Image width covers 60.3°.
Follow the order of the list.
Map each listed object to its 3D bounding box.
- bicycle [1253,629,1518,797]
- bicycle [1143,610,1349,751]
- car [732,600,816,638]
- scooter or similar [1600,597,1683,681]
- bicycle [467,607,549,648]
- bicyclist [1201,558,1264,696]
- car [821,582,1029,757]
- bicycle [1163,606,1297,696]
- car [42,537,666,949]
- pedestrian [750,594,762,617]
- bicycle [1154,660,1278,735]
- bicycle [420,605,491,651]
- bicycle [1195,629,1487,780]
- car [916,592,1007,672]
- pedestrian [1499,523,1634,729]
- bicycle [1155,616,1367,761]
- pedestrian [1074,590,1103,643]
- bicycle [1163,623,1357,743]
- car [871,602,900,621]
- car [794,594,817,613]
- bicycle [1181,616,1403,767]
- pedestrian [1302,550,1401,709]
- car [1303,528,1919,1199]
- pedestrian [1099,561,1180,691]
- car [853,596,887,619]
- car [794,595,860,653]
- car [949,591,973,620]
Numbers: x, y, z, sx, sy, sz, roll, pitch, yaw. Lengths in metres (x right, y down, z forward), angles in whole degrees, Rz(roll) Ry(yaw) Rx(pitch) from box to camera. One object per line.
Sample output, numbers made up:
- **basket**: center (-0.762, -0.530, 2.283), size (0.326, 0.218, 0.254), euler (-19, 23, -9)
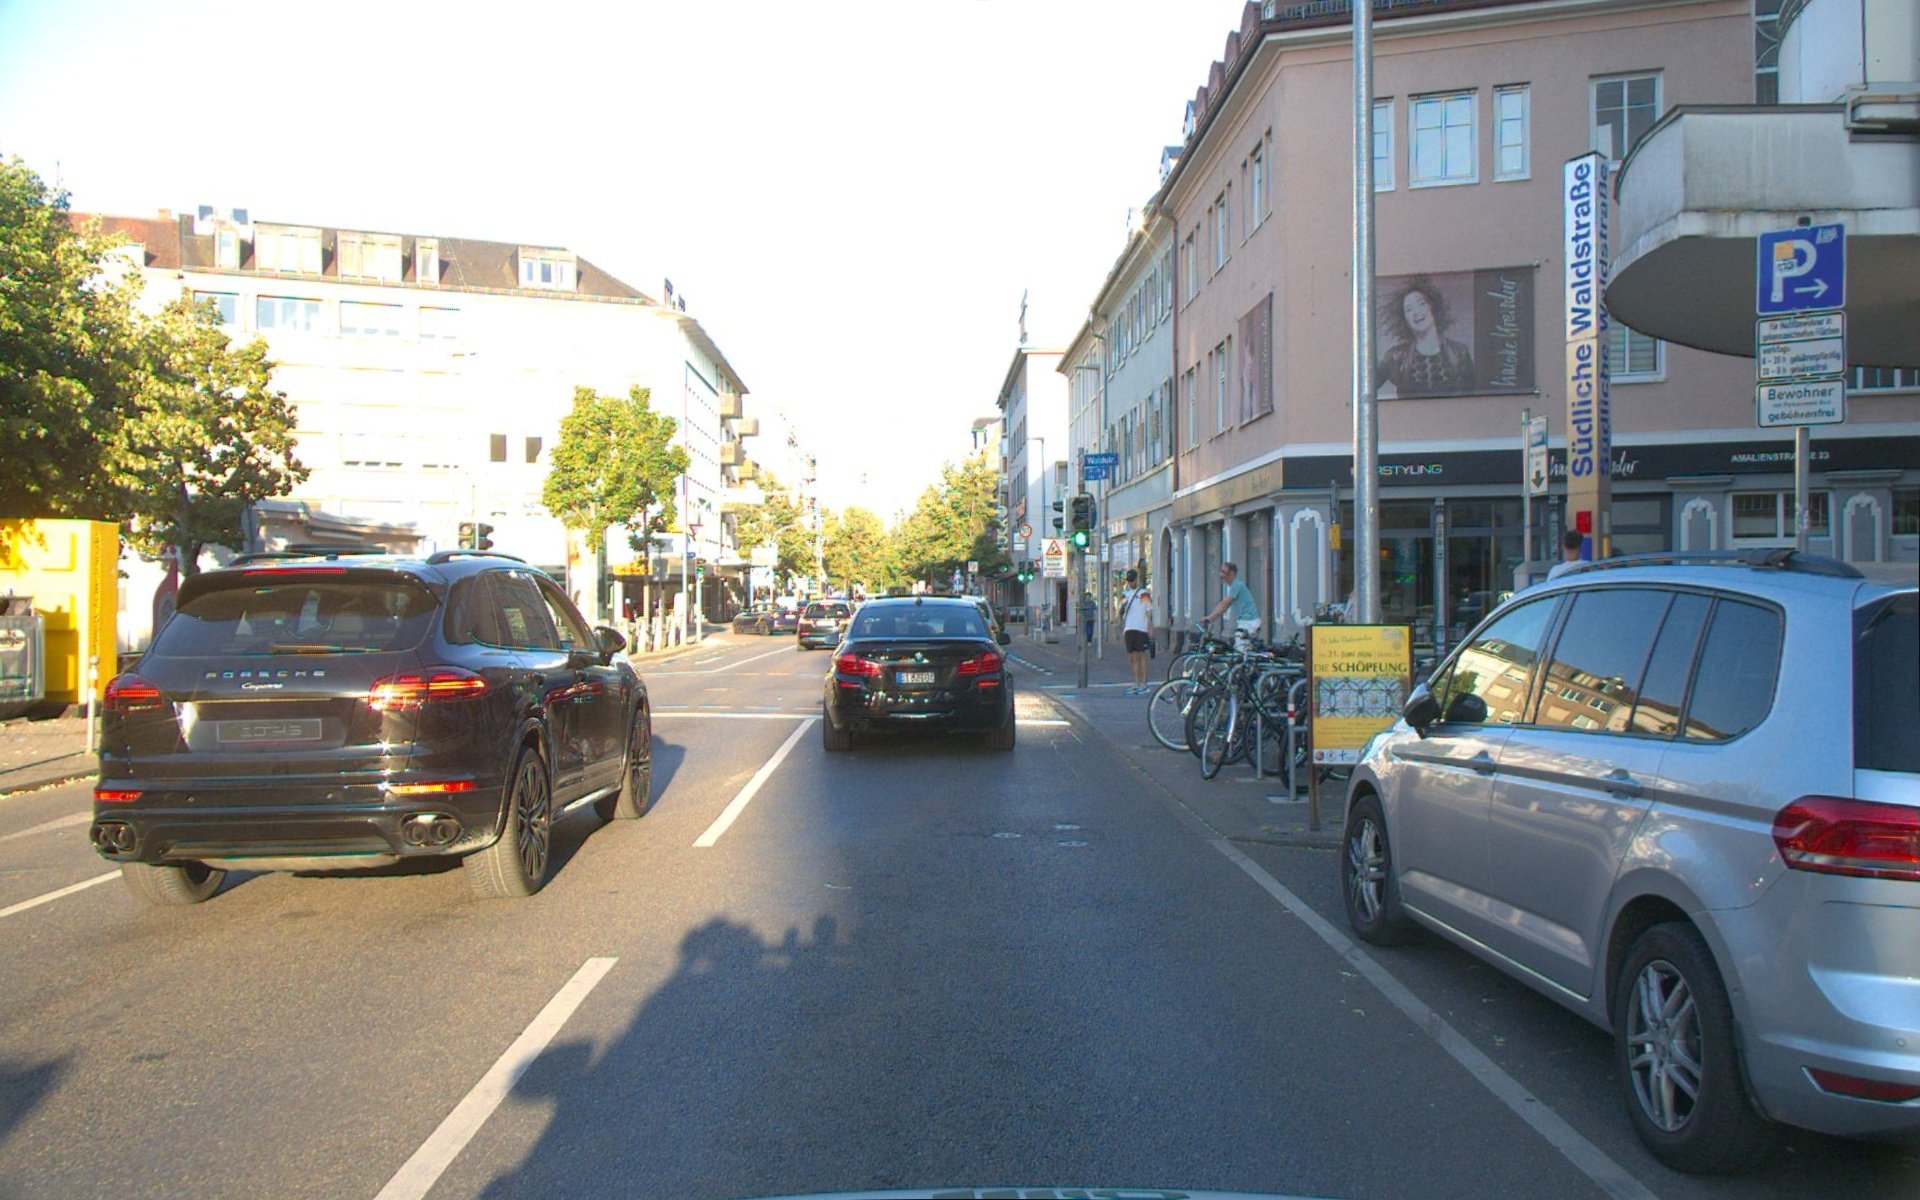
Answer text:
- **bicycle**: center (3.146, 0.814, 12.264), size (1.812, 1.143, 0.593), euler (-1, -1, -13)
- **bicycle**: center (2.682, 0.737, 15.583), size (1.808, 1.261, 0.638), euler (-1, 0, -7)
- **car**: center (-7.952, 0.786, 70.503), size (1.976, 1.512, 3.952), euler (0, 0, -34)
- **scooter or similar**: center (10.586, 0.599, 25.703), size (1.176, 1.282, 0.363), euler (0, 0, 24)
- **bicycle**: center (-14.438, 0.868, 52.919), size (2.393, 1.278, 0.787), euler (0, 0, 0)
- **bicyclist**: center (3.747, 0.364, 22.826), size (0.815, 1.858, 0.831), euler (0, 0, 6)
- **car**: center (-0.409, 0.611, 17.070), size (1.865, 1.567, 4.447), euler (0, 0, -3)
- **bicycle**: center (3.716, 0.696, 22.826), size (1.781, 1.207, 0.794), euler (-1, 0, 8)
- **car**: center (-3.006, 0.599, 9.392), size (1.909, 1.744, 4.561), euler (-1, 0, -1)
- **pedestrian**: center (-14.828, 0.398, 120.410), size (0.807, 1.706, 0.871), euler (0, 0, -3)
- **bicycle**: center (2.642, 1.000, 17.157), size (0.986, 0.693, 1.048), euler (0, 0, -10)
- **bicycle**: center (-14.345, 0.798, 47.076), size (1.816, 1.278, 0.633), euler (0, 0, 0)
- **bicycle**: center (3.035, 0.812, 13.260), size (2.129, 1.094, 0.804), euler (-1, 0, -8)
- **car**: center (0.027, 0.627, 35.029), size (1.795, 1.603, 4.100), euler (0, 0, 0)
- **pedestrian**: center (5.627, 0.231, 15.375), size (0.811, 1.848, 0.866), euler (0, 0, -20)
- **bicycle**: center (2.697, 0.774, 14.836), size (1.751, 1.193, 0.620), euler (-2, 0, -13)
- **pedestrian**: center (4.036, 0.515, 52.098), size (0.807, 1.670, 0.871), euler (0, 0, -3)
- **bicycle**: center (2.986, 0.809, 16.528), size (1.751, 1.082, 0.716), euler (-2, 0, -13)
- **car**: center (-5.277, 0.790, 117.001), size (1.701, 1.315, 3.994), euler (0, 0, -7)
- **car**: center (-12.326, 0.240, 131.515), size (1.701, 1.487, 3.994), euler (0, 0, -7)
- **bicycle**: center (2.842, 0.762, 14.207), size (1.751, 1.193, 0.620), euler (-2, 0, -13)
- **pedestrian**: center (4.268, 0.311, 18.038), size (0.778, 1.682, 0.775), euler (-1, 0, 42)
- **car**: center (2.656, 0.660, 5.914), size (1.664, 1.645, 4.680), euler (0, 0, -3)
- **pedestrian**: center (2.719, 0.382, 25.043), size (0.926, 1.931, 0.819), euler (0, 0, -27)
- **car**: center (-6.014, 0.494, 110.208), size (1.956, 1.467, 3.994), euler (0, 0, -7)
- **car**: center (-3.930, 0.680, 49.472), size (1.835, 1.623, 4.447), euler (0, 0, -3)
- **car**: center (0.054, 0.379, 113.615), size (1.393, 1.887, 3.050), euler (1, -1, -4)
